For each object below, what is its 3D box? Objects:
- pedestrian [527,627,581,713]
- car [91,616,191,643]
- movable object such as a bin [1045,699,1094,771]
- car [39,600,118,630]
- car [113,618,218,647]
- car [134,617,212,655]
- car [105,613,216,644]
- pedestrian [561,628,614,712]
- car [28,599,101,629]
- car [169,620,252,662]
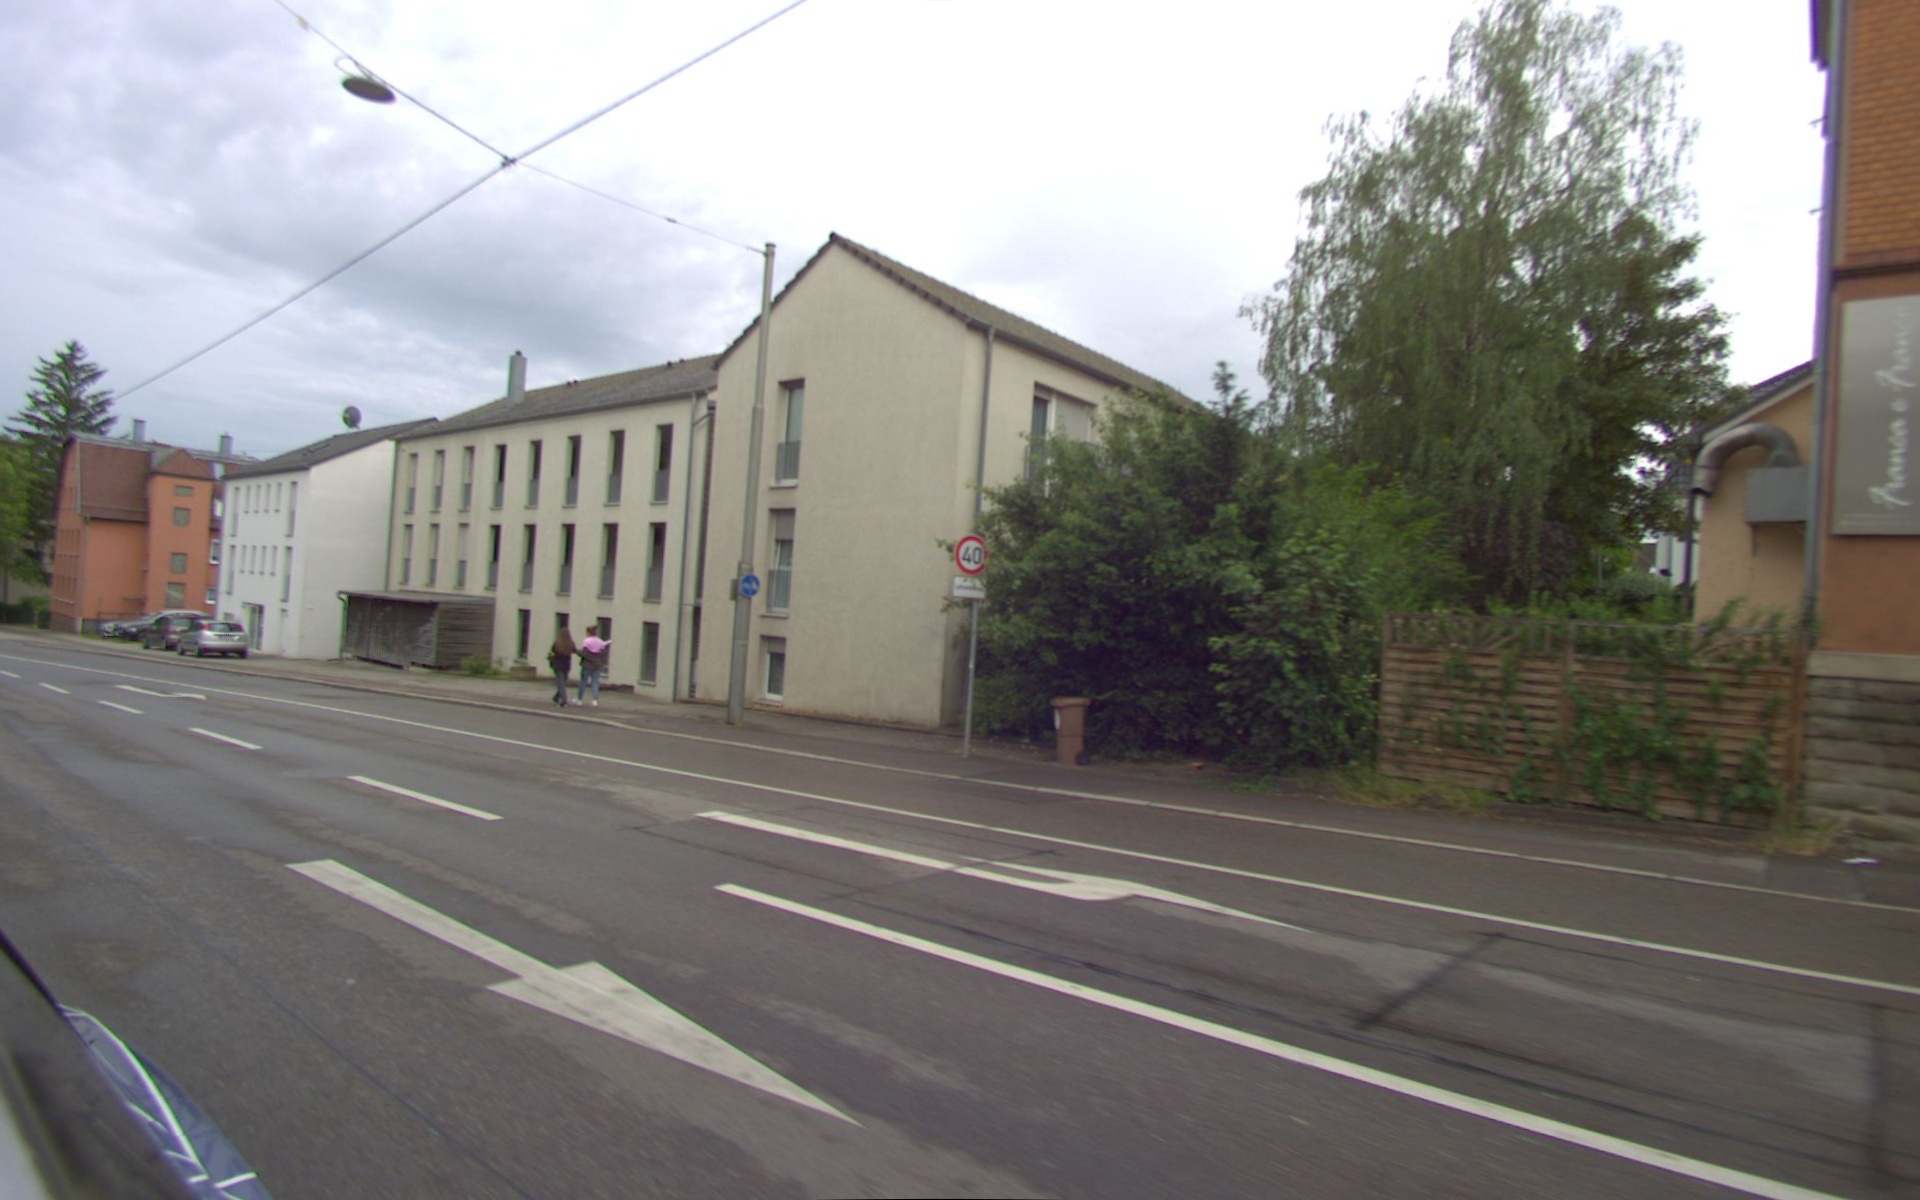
[{"bbox_3d":[-8.483,1.444,21.138,0.911,1.719,0.633,0,-3,41],"label":"pedestrian"},{"bbox_3d":[-46.037,1.640,56.970,2.000,1.444,4.117,0,-1,42],"label":"car"},{"bbox_3d":[1.541,1.893,14.232,0.524,0.932,0.406,1,-2,34],"label":"movable object such as a bin"},{"bbox_3d":[-63.076,1.078,72.476,1.998,2.029,3.947,1,-2,39],"label":"car"},{"bbox_3d":[-41.973,1.717,53.532,1.895,1.475,4.082,0,-1,42],"label":"car"},{"bbox_3d":[-35.487,1.588,45.622,4.076,1.564,1.729,0,-1,36],"label":"car"},{"bbox_3d":[-43.902,1.547,55.623,2.153,1.620,4.482,0,-1,42],"label":"car"},{"bbox_3d":[-7.935,1.469,21.559,0.911,1.719,0.633,0,-3,41],"label":"pedestrian"},{"bbox_3d":[-66.131,1.029,74.769,3.938,2.029,2.002,3,-2,-42],"label":"car"},{"bbox_3d":[-30.298,1.629,40.873,4.175,1.519,1.727,0,-3,41],"label":"car"}]
